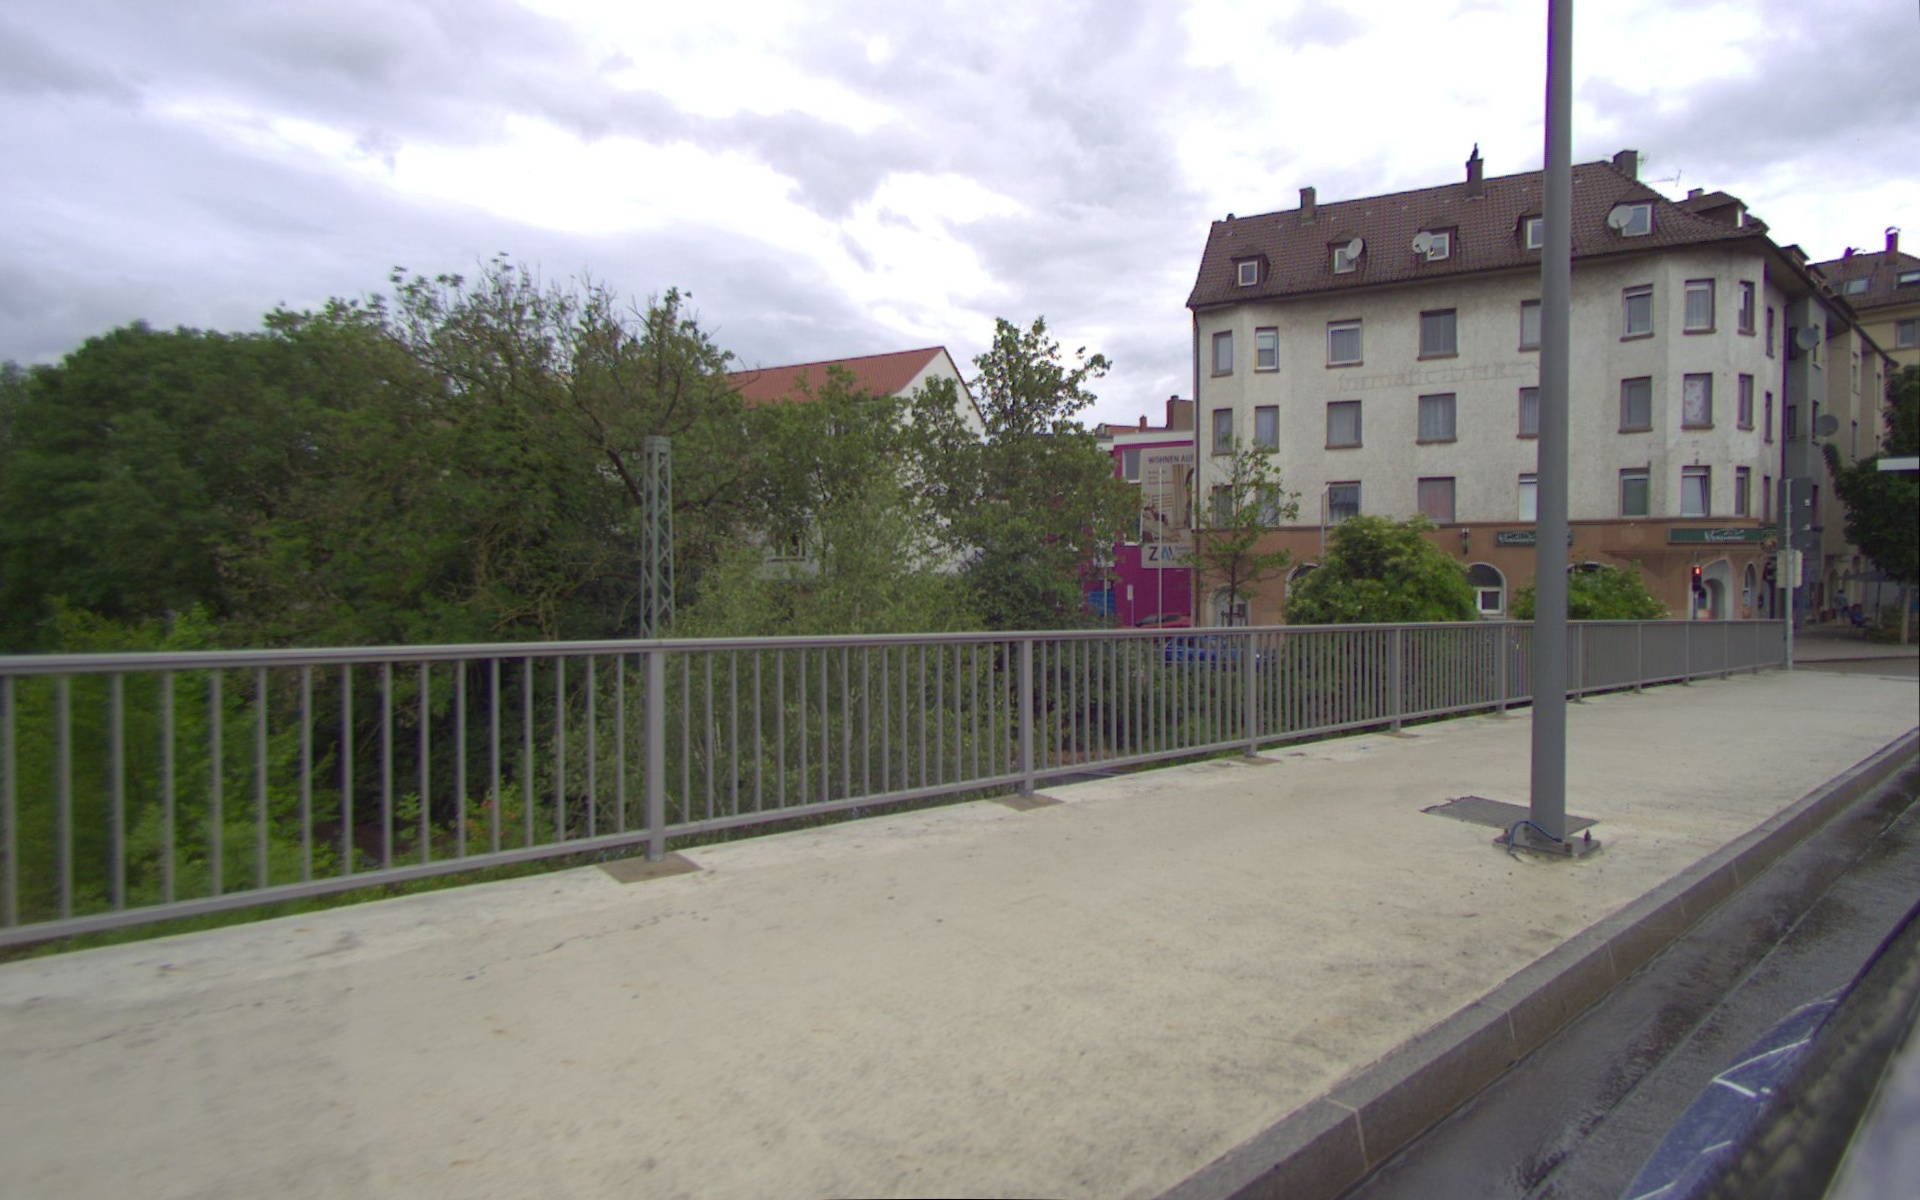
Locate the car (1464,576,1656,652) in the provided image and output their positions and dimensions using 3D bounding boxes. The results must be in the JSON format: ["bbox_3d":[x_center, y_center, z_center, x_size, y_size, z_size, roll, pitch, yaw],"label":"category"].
[{"bbox_3d":[17.764,0.460,30.279,4.711,2.040,1.981,-3,-2,27],"label":"car"}]

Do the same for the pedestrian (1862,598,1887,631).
[{"bbox_3d":[34.102,0.535,37.737,0.547,1.204,0.665,-1,1,-42],"label":"pedestrian"}]

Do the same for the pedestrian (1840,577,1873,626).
[{"bbox_3d":[38.158,0.041,43.069,1.179,2.039,0.898,-1,1,-41],"label":"pedestrian"}]
